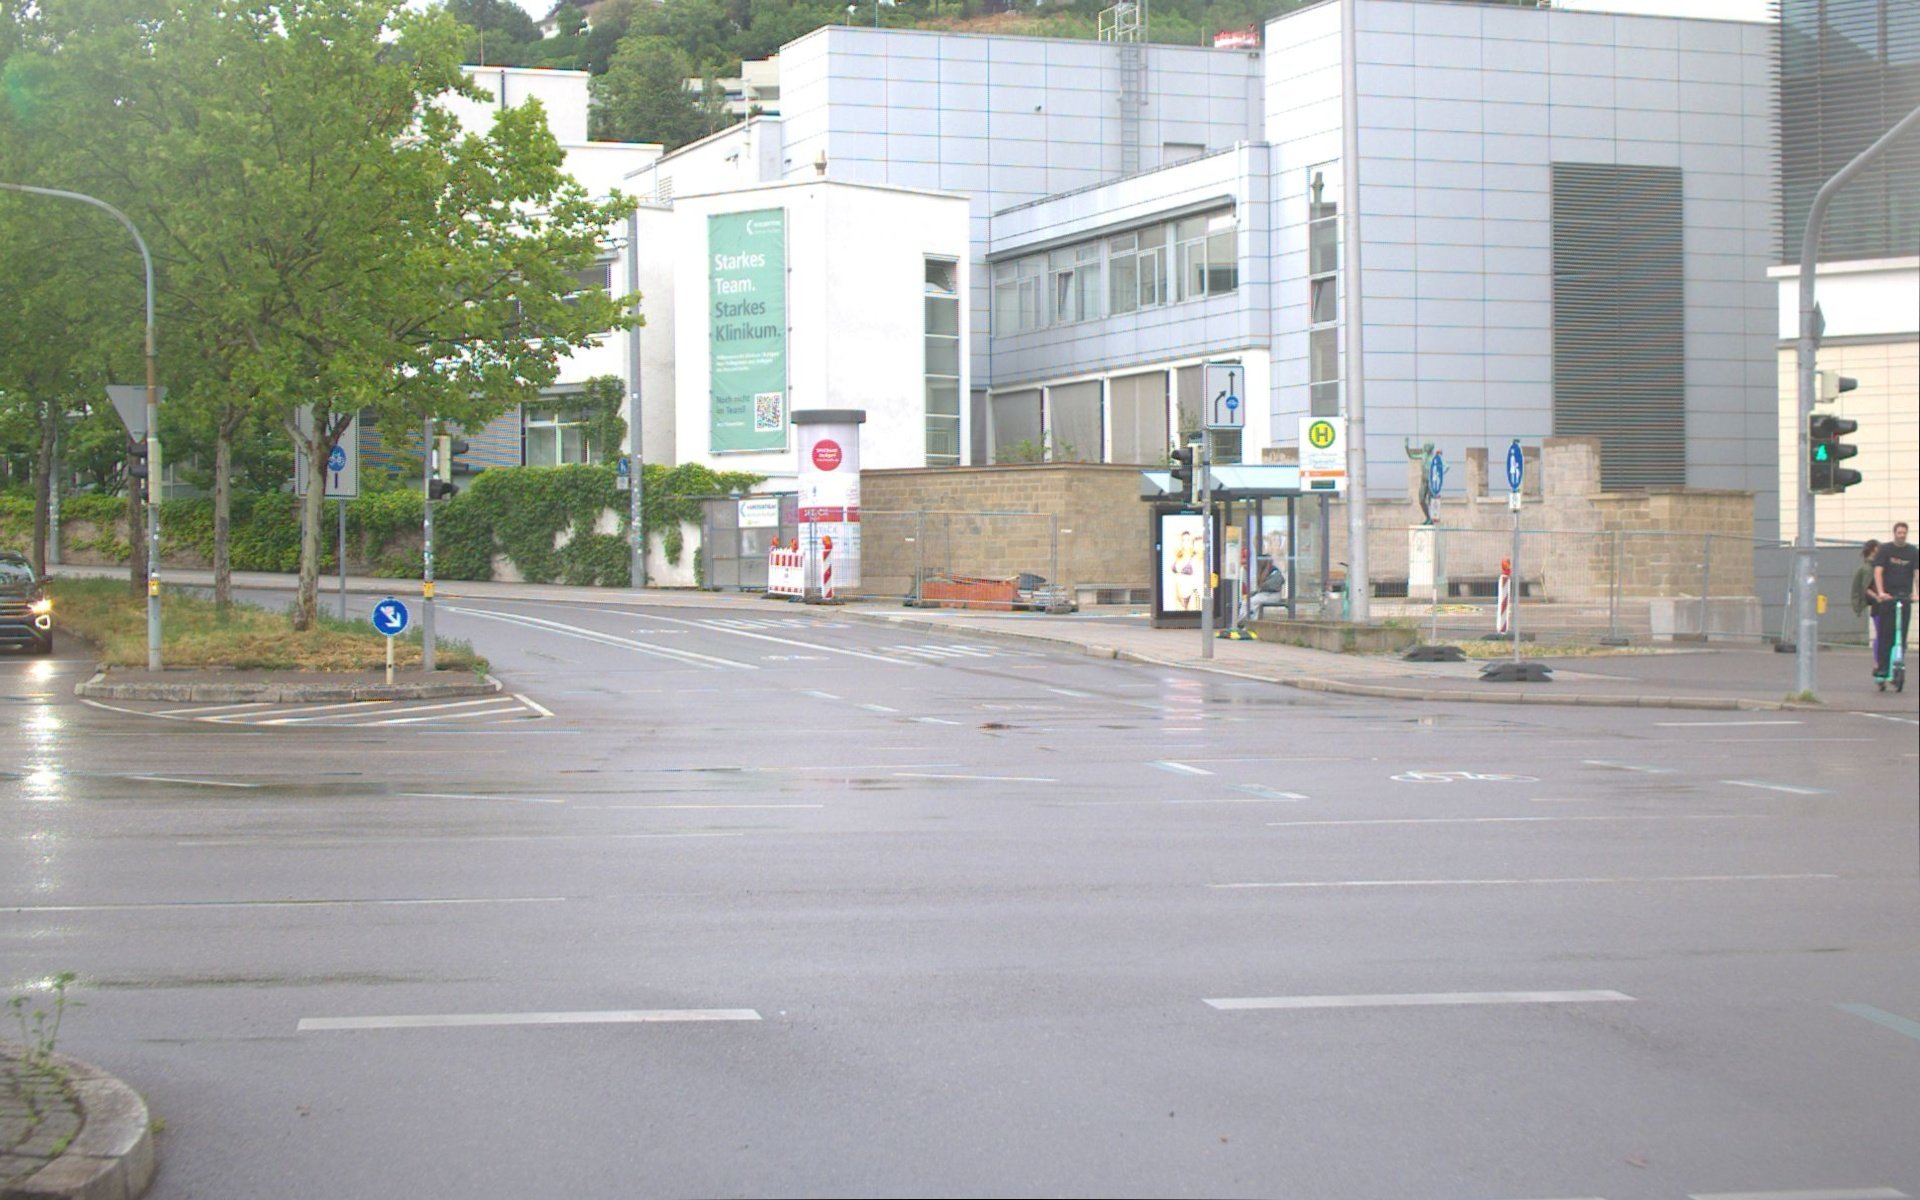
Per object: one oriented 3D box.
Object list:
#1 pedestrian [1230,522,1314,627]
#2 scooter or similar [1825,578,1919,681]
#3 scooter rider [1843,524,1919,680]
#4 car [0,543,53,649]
[{"bbox_3d":[5.233,-0.427,57.779,1.257,1.713,1.016,2,-1,-2],"label":"pedestrian"},{"bbox_3d":[11.263,0.363,42.146,0.591,1.234,1.314,2,-1,-21],"label":"scooter or similar"},{"bbox_3d":[11.329,0.023,42.091,0.723,1.877,0.632,2,-1,-20],"label":"scooter rider"},{"bbox_3d":[-15.413,-0.090,53.975,1.788,1.579,4.001,0,1,-22],"label":"car"}]
